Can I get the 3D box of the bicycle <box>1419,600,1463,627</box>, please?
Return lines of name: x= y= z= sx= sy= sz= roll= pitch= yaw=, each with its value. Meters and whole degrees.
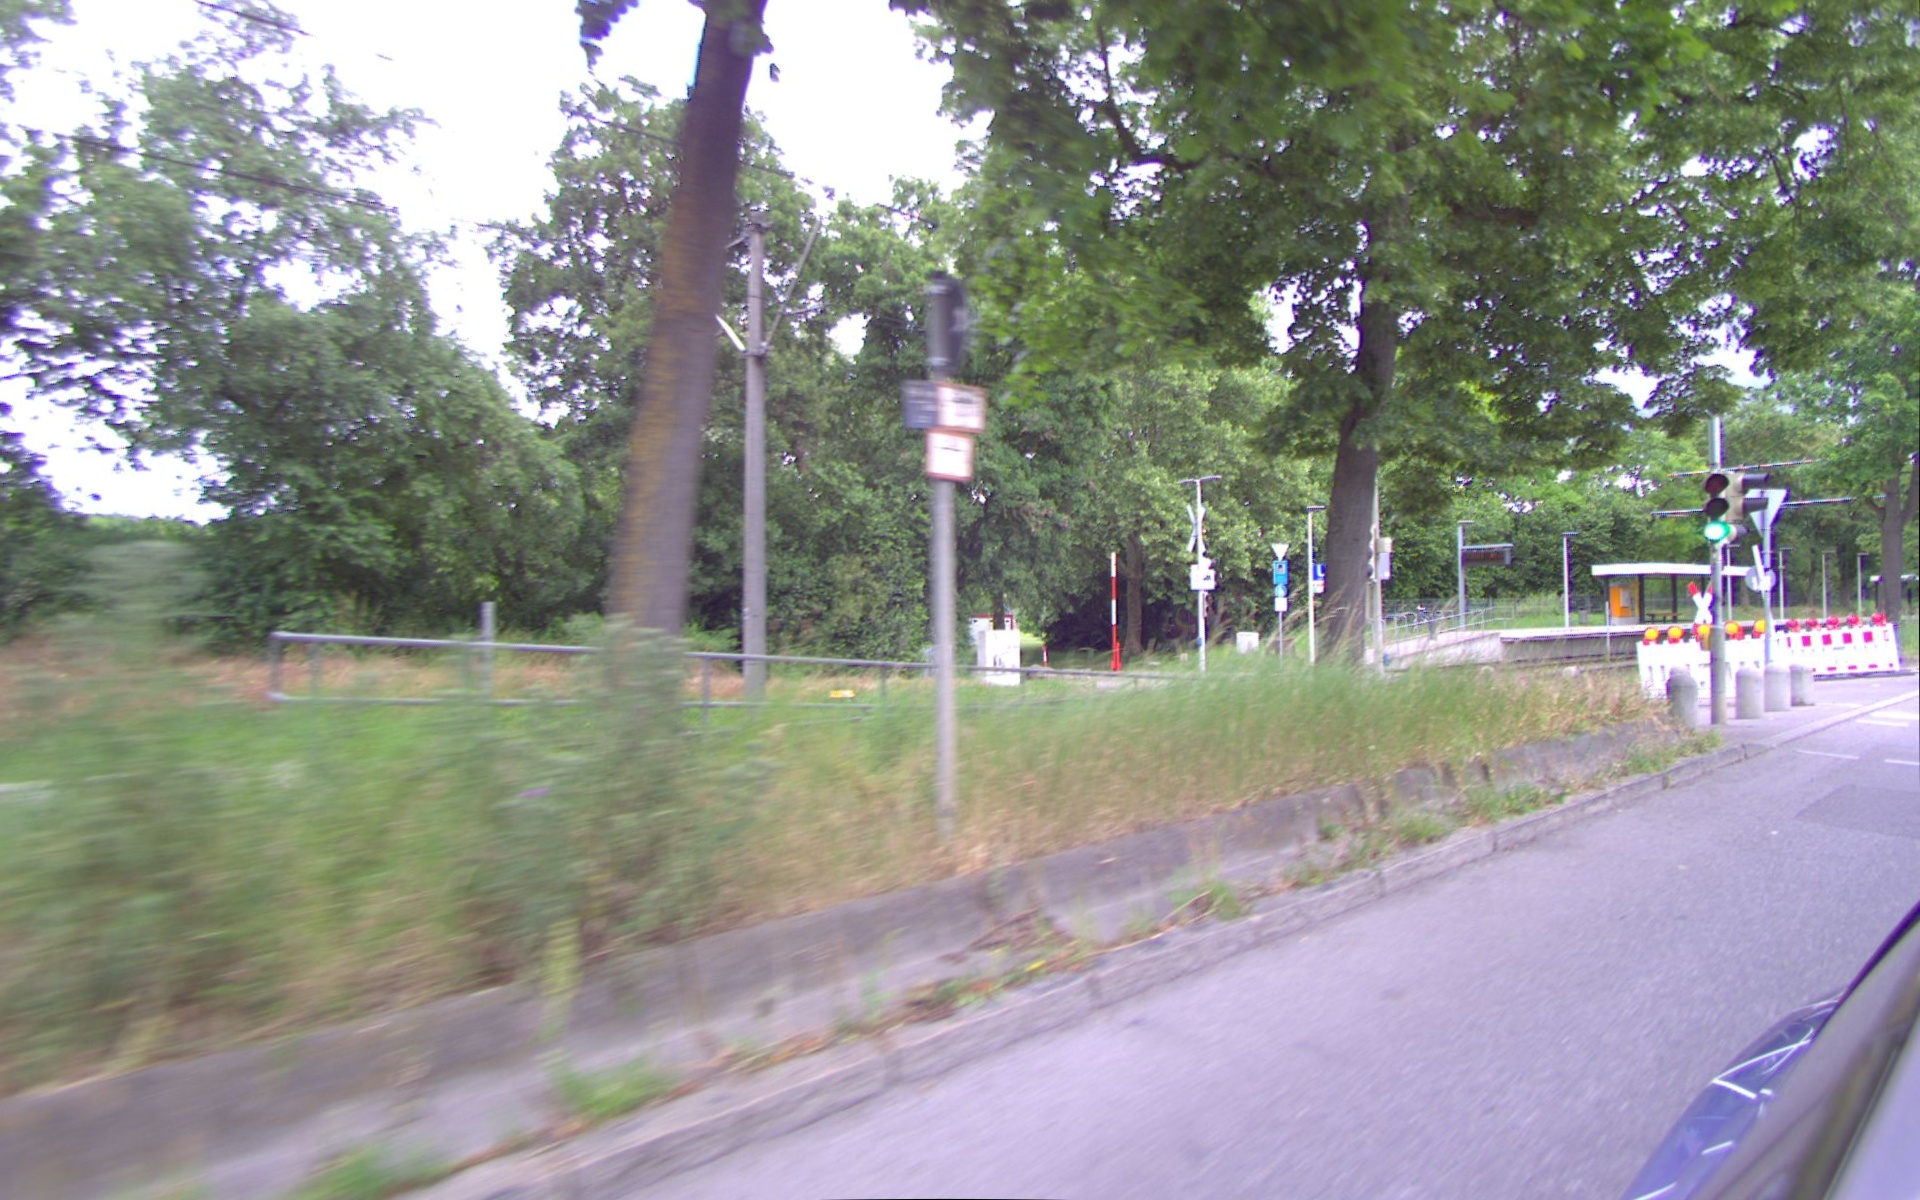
bicycle: x=18.898 y=0.534 z=39.799 sx=0.442 sy=0.986 sz=1.512 roll=1 pitch=-3 yaw=-37
